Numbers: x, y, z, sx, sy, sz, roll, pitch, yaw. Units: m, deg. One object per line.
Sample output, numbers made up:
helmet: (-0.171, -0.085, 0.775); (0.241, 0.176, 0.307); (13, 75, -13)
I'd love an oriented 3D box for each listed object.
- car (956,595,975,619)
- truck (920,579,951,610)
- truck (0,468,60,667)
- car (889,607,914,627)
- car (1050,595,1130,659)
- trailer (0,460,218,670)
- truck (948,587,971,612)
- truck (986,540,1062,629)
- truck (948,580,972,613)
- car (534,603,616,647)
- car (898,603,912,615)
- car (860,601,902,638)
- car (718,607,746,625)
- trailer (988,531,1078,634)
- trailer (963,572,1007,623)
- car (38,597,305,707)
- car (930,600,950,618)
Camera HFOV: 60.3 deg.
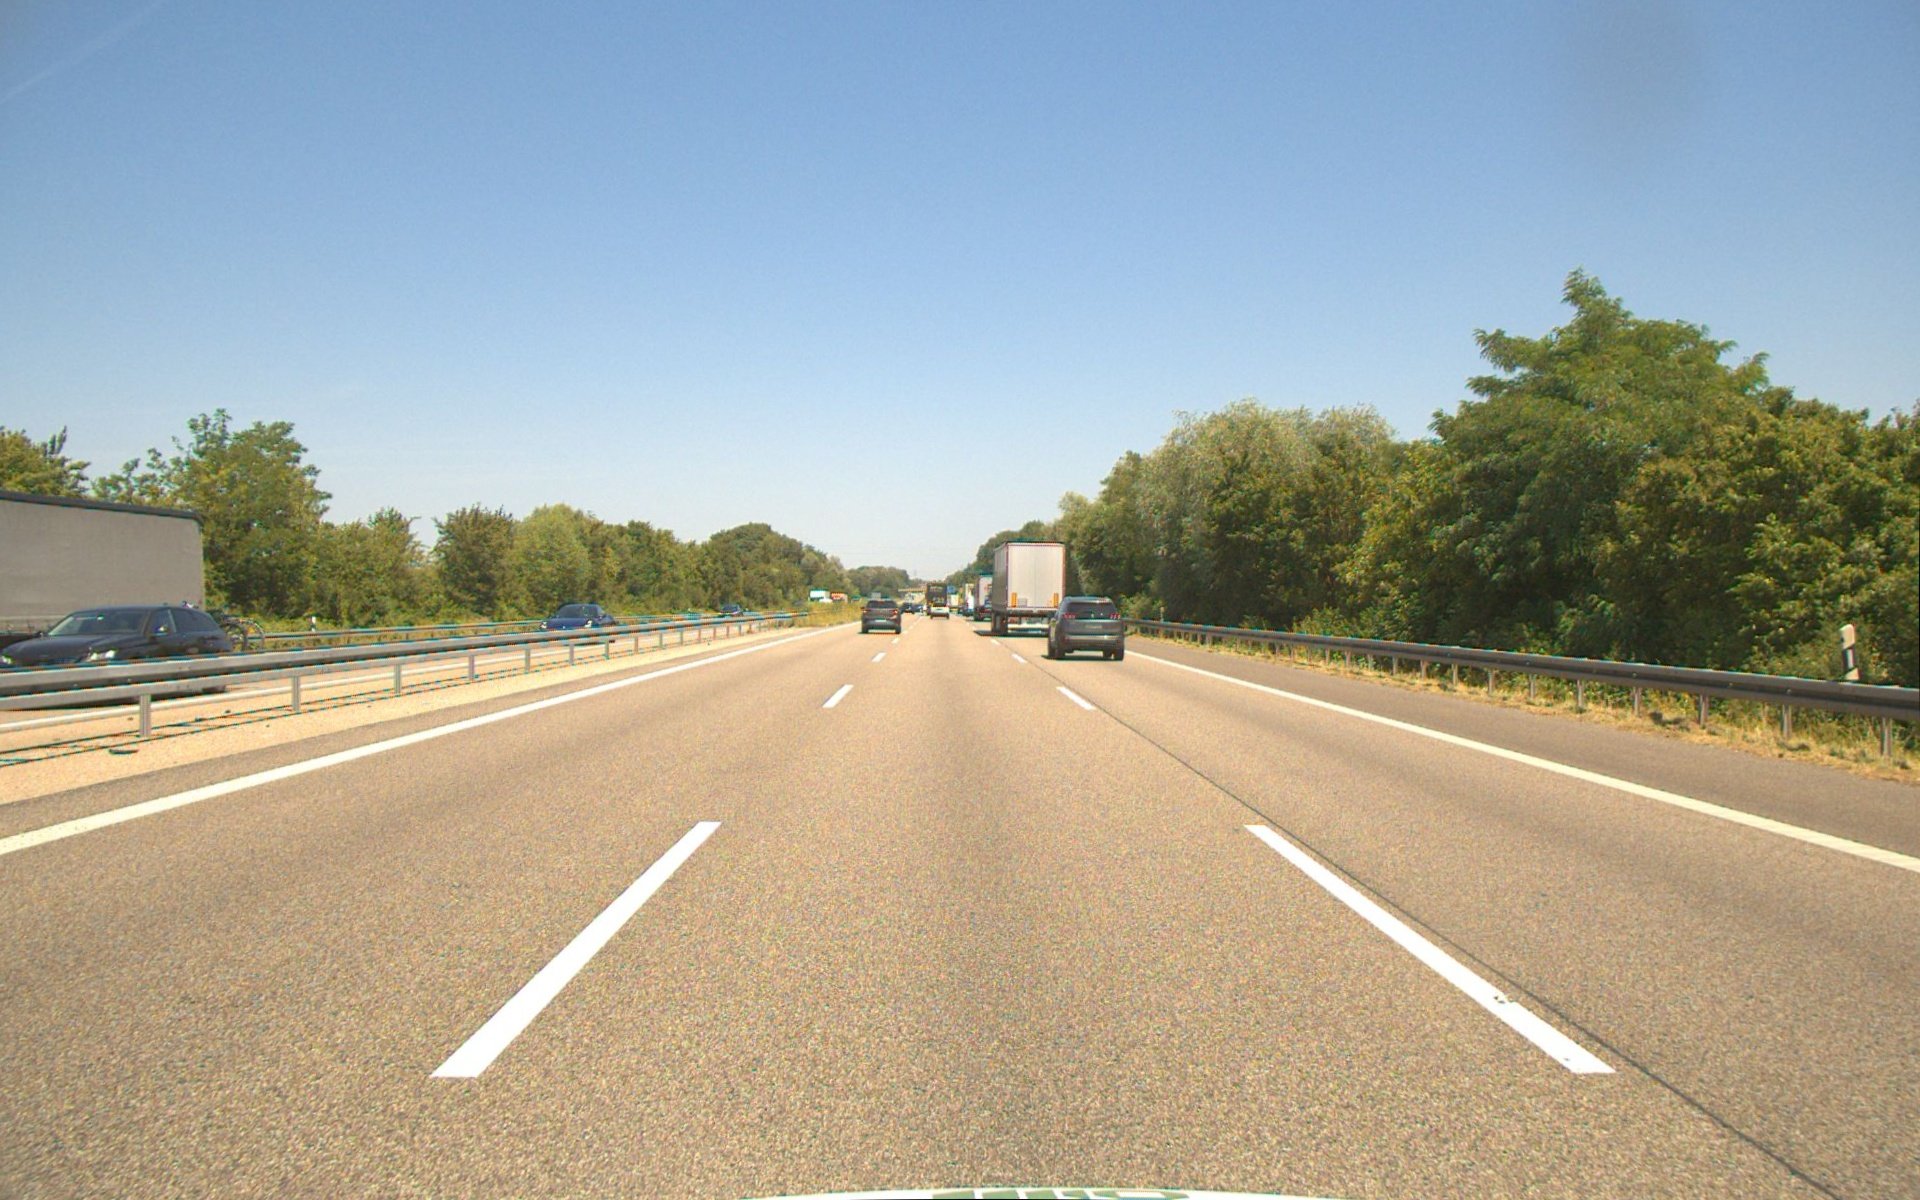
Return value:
car: (0.582, 0.707, 178.642); (1.869, 2.467, 4.285); (1, 1, -1)
truck: (-3.073, -0.722, 207.120); (3.592, 3.791, 7.108); (1, 1, 0)
truck: (-21.085, -0.647, 31.552); (3.186, 4.056, 8.726); (0, 1, -1)
car: (-4.811, 1.391, 136.412); (1.862, 1.557, 4.083); (1, 1, -1)
car: (3.444, 0.687, 44.453); (1.807, 1.657, 4.134); (0, 0, 0)
trailer: (-21.202, -0.729, 37.136); (3.230, 4.259, 13.538); (-1, 1, -1)
truck: (-0.092, -0.104, 255.599); (3.417, 3.791, 7.108); (1, 1, 0)
truck: (3.170, -0.696, 83.991); (3.394, 4.250, 6.842); (1, -1, -1)
truck: (0.005, -0.410, 197.835); (2.735, 3.791, 7.108); (1, 1, 0)
car: (-13.372, 0.841, 57.733); (1.812, 1.420, 4.741); (-2, 0, -1)
car: (-7.710, 1.268, 233.841); (1.869, 1.557, 4.285); (1, 1, -1)
car: (-3.572, 0.862, 75.085); (1.723, 1.557, 4.285); (1, 1, -1)
car: (-19.180, 1.299, 139.306); (1.825, 1.426, 4.530); (-1, 0, -1)
trailer: (3.174, -0.704, 76.483); (3.365, 4.254, 13.630); (1, 0, -1)
trailer: (1.975, -0.237, 135.993); (3.059, 3.995, 9.933); (1, 1, -2)
car: (-12.342, 0.757, 26.333); (1.812, 1.488, 5.168); (-3, 0, -1)
car: (-1.837, 0.808, 151.938); (1.862, 1.557, 4.083); (1, 1, -1)
